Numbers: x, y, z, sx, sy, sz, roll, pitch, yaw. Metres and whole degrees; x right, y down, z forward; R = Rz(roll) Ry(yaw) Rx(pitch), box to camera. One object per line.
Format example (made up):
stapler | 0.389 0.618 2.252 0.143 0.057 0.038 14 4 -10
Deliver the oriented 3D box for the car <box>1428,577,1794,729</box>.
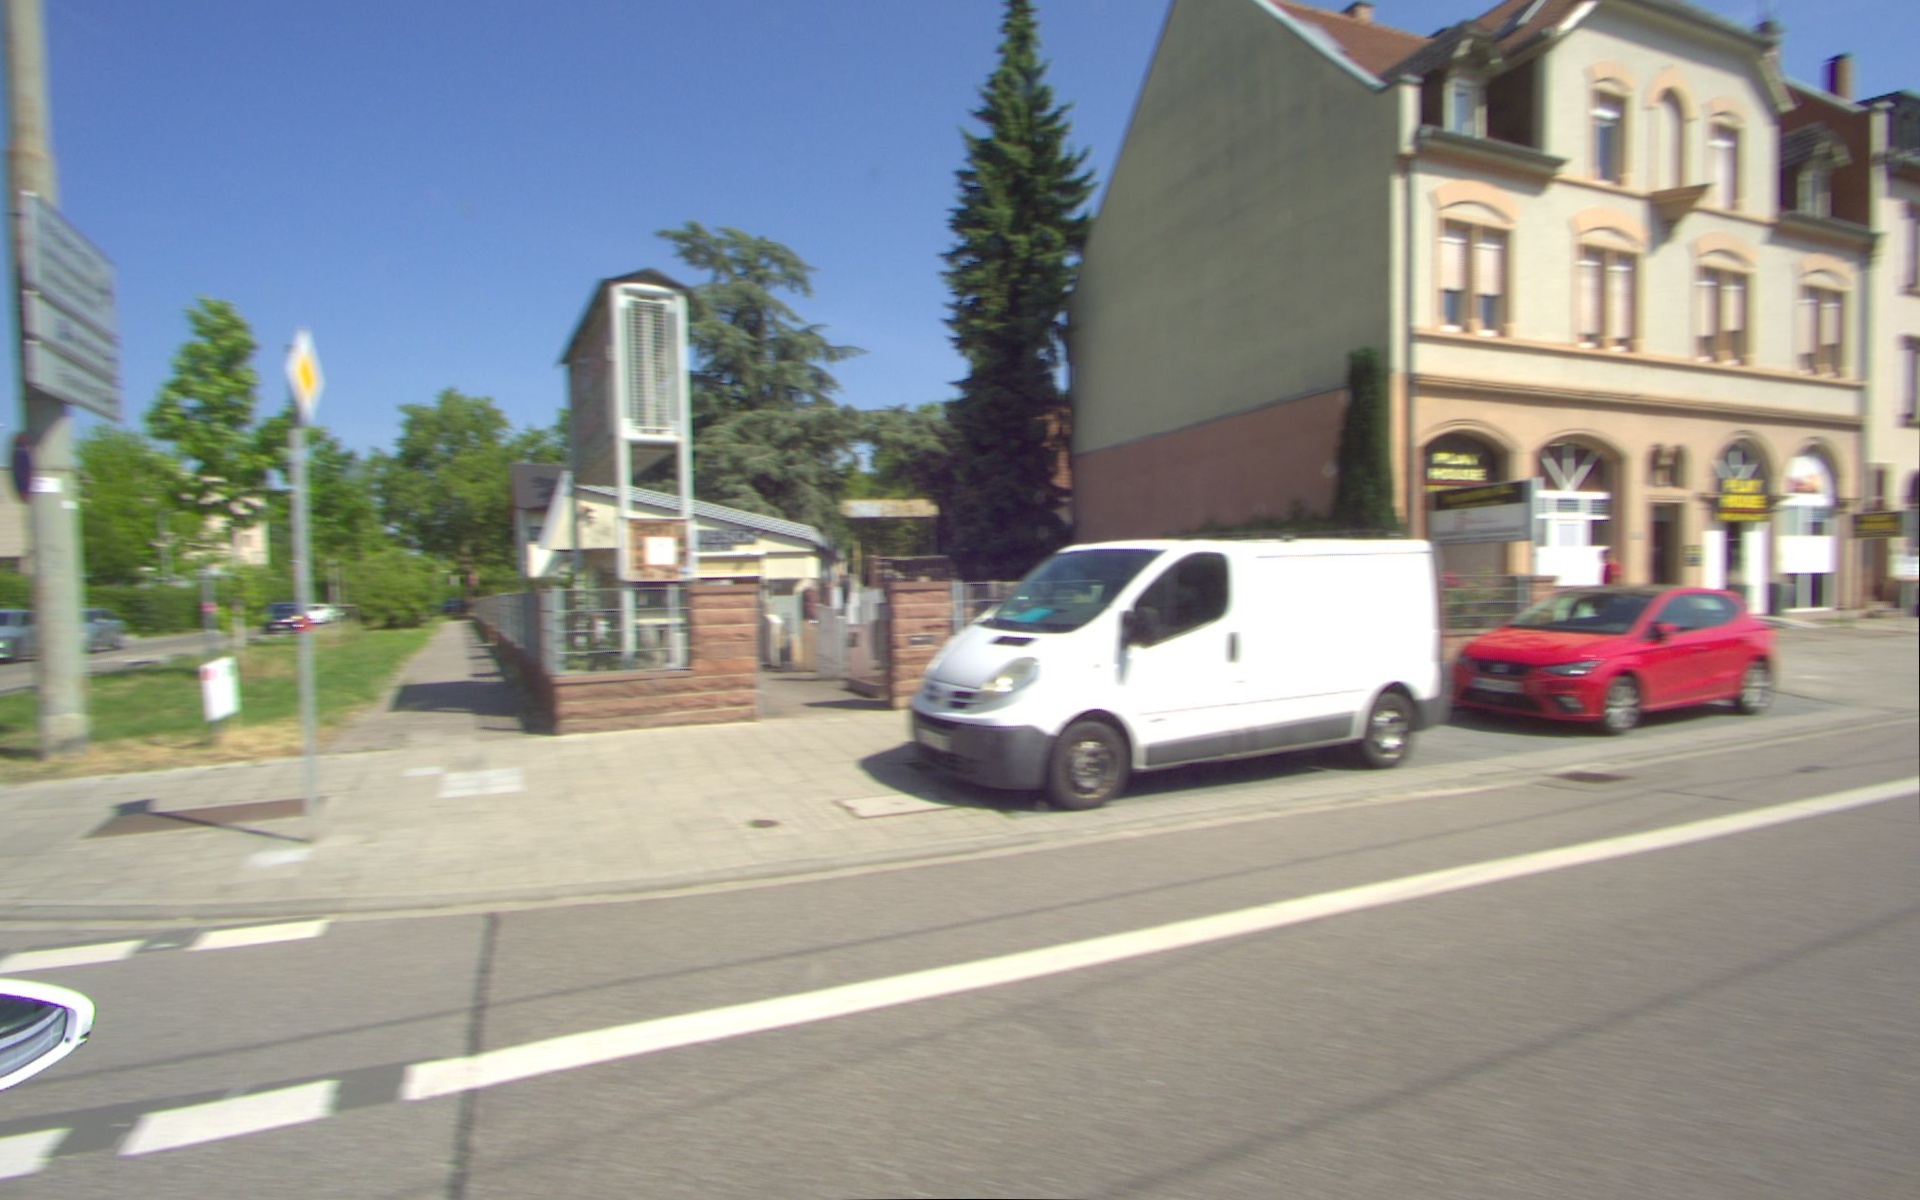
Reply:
car | 7.314 0.484 11.217 3.939 1.425 1.718 -1 1 -27

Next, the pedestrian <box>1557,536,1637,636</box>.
pedestrian | 12.167 -0.262 19.163 1.110 1.840 0.943 0 2 21

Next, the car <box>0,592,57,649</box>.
car | -25.514 0.517 26.300 1.788 1.422 3.809 -1 1 -29

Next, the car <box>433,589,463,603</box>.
car | -53.005 -0.441 103.646 1.900 1.469 3.822 -1 1 -14

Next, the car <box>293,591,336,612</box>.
car | -48.185 0.094 74.813 1.903 1.469 3.817 -1 1 -21

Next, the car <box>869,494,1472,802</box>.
car | 1.849 0.259 8.619 4.831 2.041 2.081 -1 2 -26

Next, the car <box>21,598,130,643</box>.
car | -28.291 0.608 32.161 1.788 1.340 3.809 -1 1 -29

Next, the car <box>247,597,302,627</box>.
car | -35.457 0.591 51.866 1.907 1.469 3.809 -1 1 -29
